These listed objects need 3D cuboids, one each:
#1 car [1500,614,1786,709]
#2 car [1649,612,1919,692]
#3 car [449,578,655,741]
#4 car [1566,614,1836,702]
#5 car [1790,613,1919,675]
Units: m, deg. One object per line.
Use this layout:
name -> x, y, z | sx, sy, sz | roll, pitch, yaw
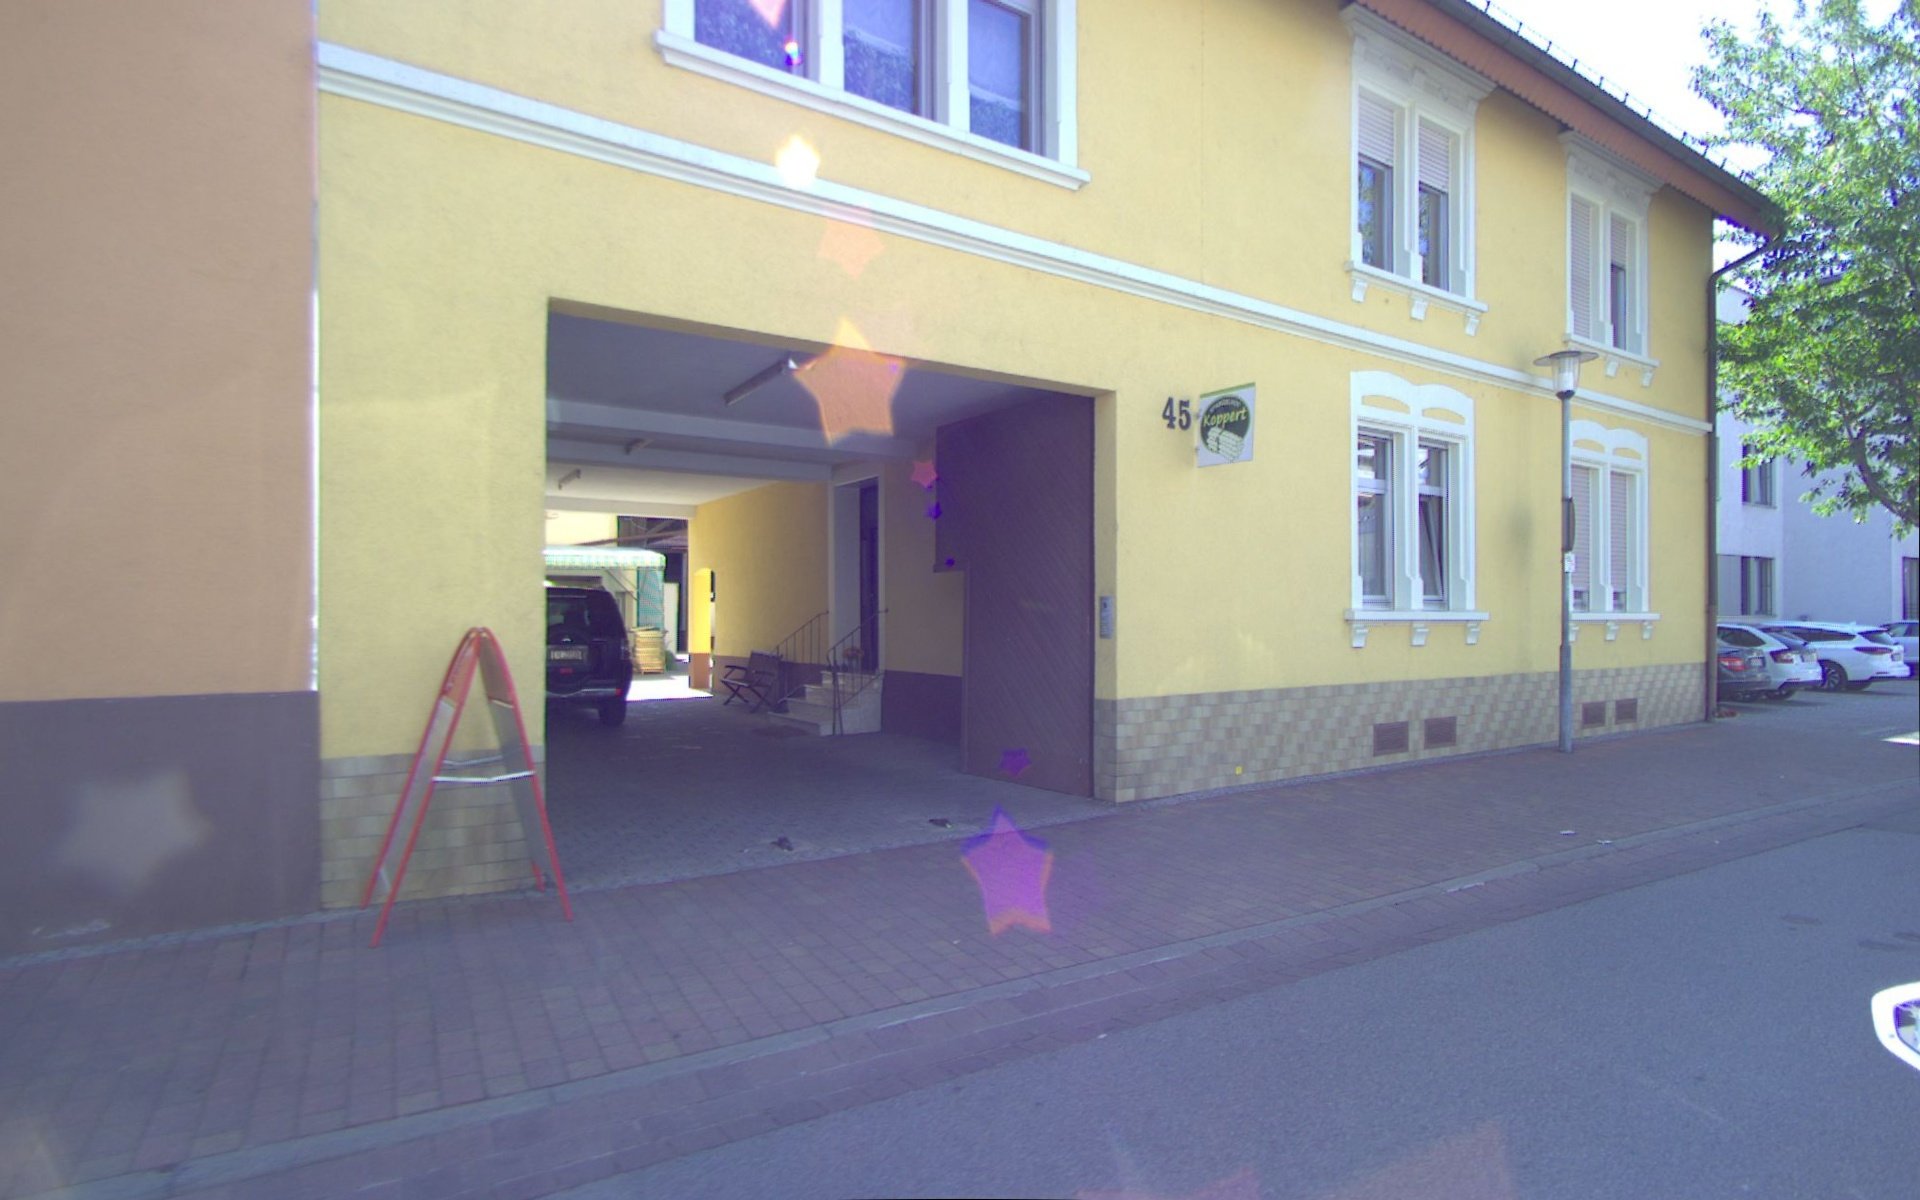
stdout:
car -> 12.537, 1.033, 18.652 | 1.953, 1.450, 3.960 | 1, 1, -35
car -> 18.704, 1.096, 22.989 | 1.913, 1.575, 4.480 | 0, 0, -31
car -> -5.732, 0.686, 13.820 | 1.978, 1.873, 3.965 | 1, 0, -32
car -> 14.603, 1.060, 20.015 | 1.788, 1.470, 3.963 | 1, 1, -33
car -> 25.724, 1.198, 27.265 | 2.125, 1.575, 4.480 | 1, 0, -33
